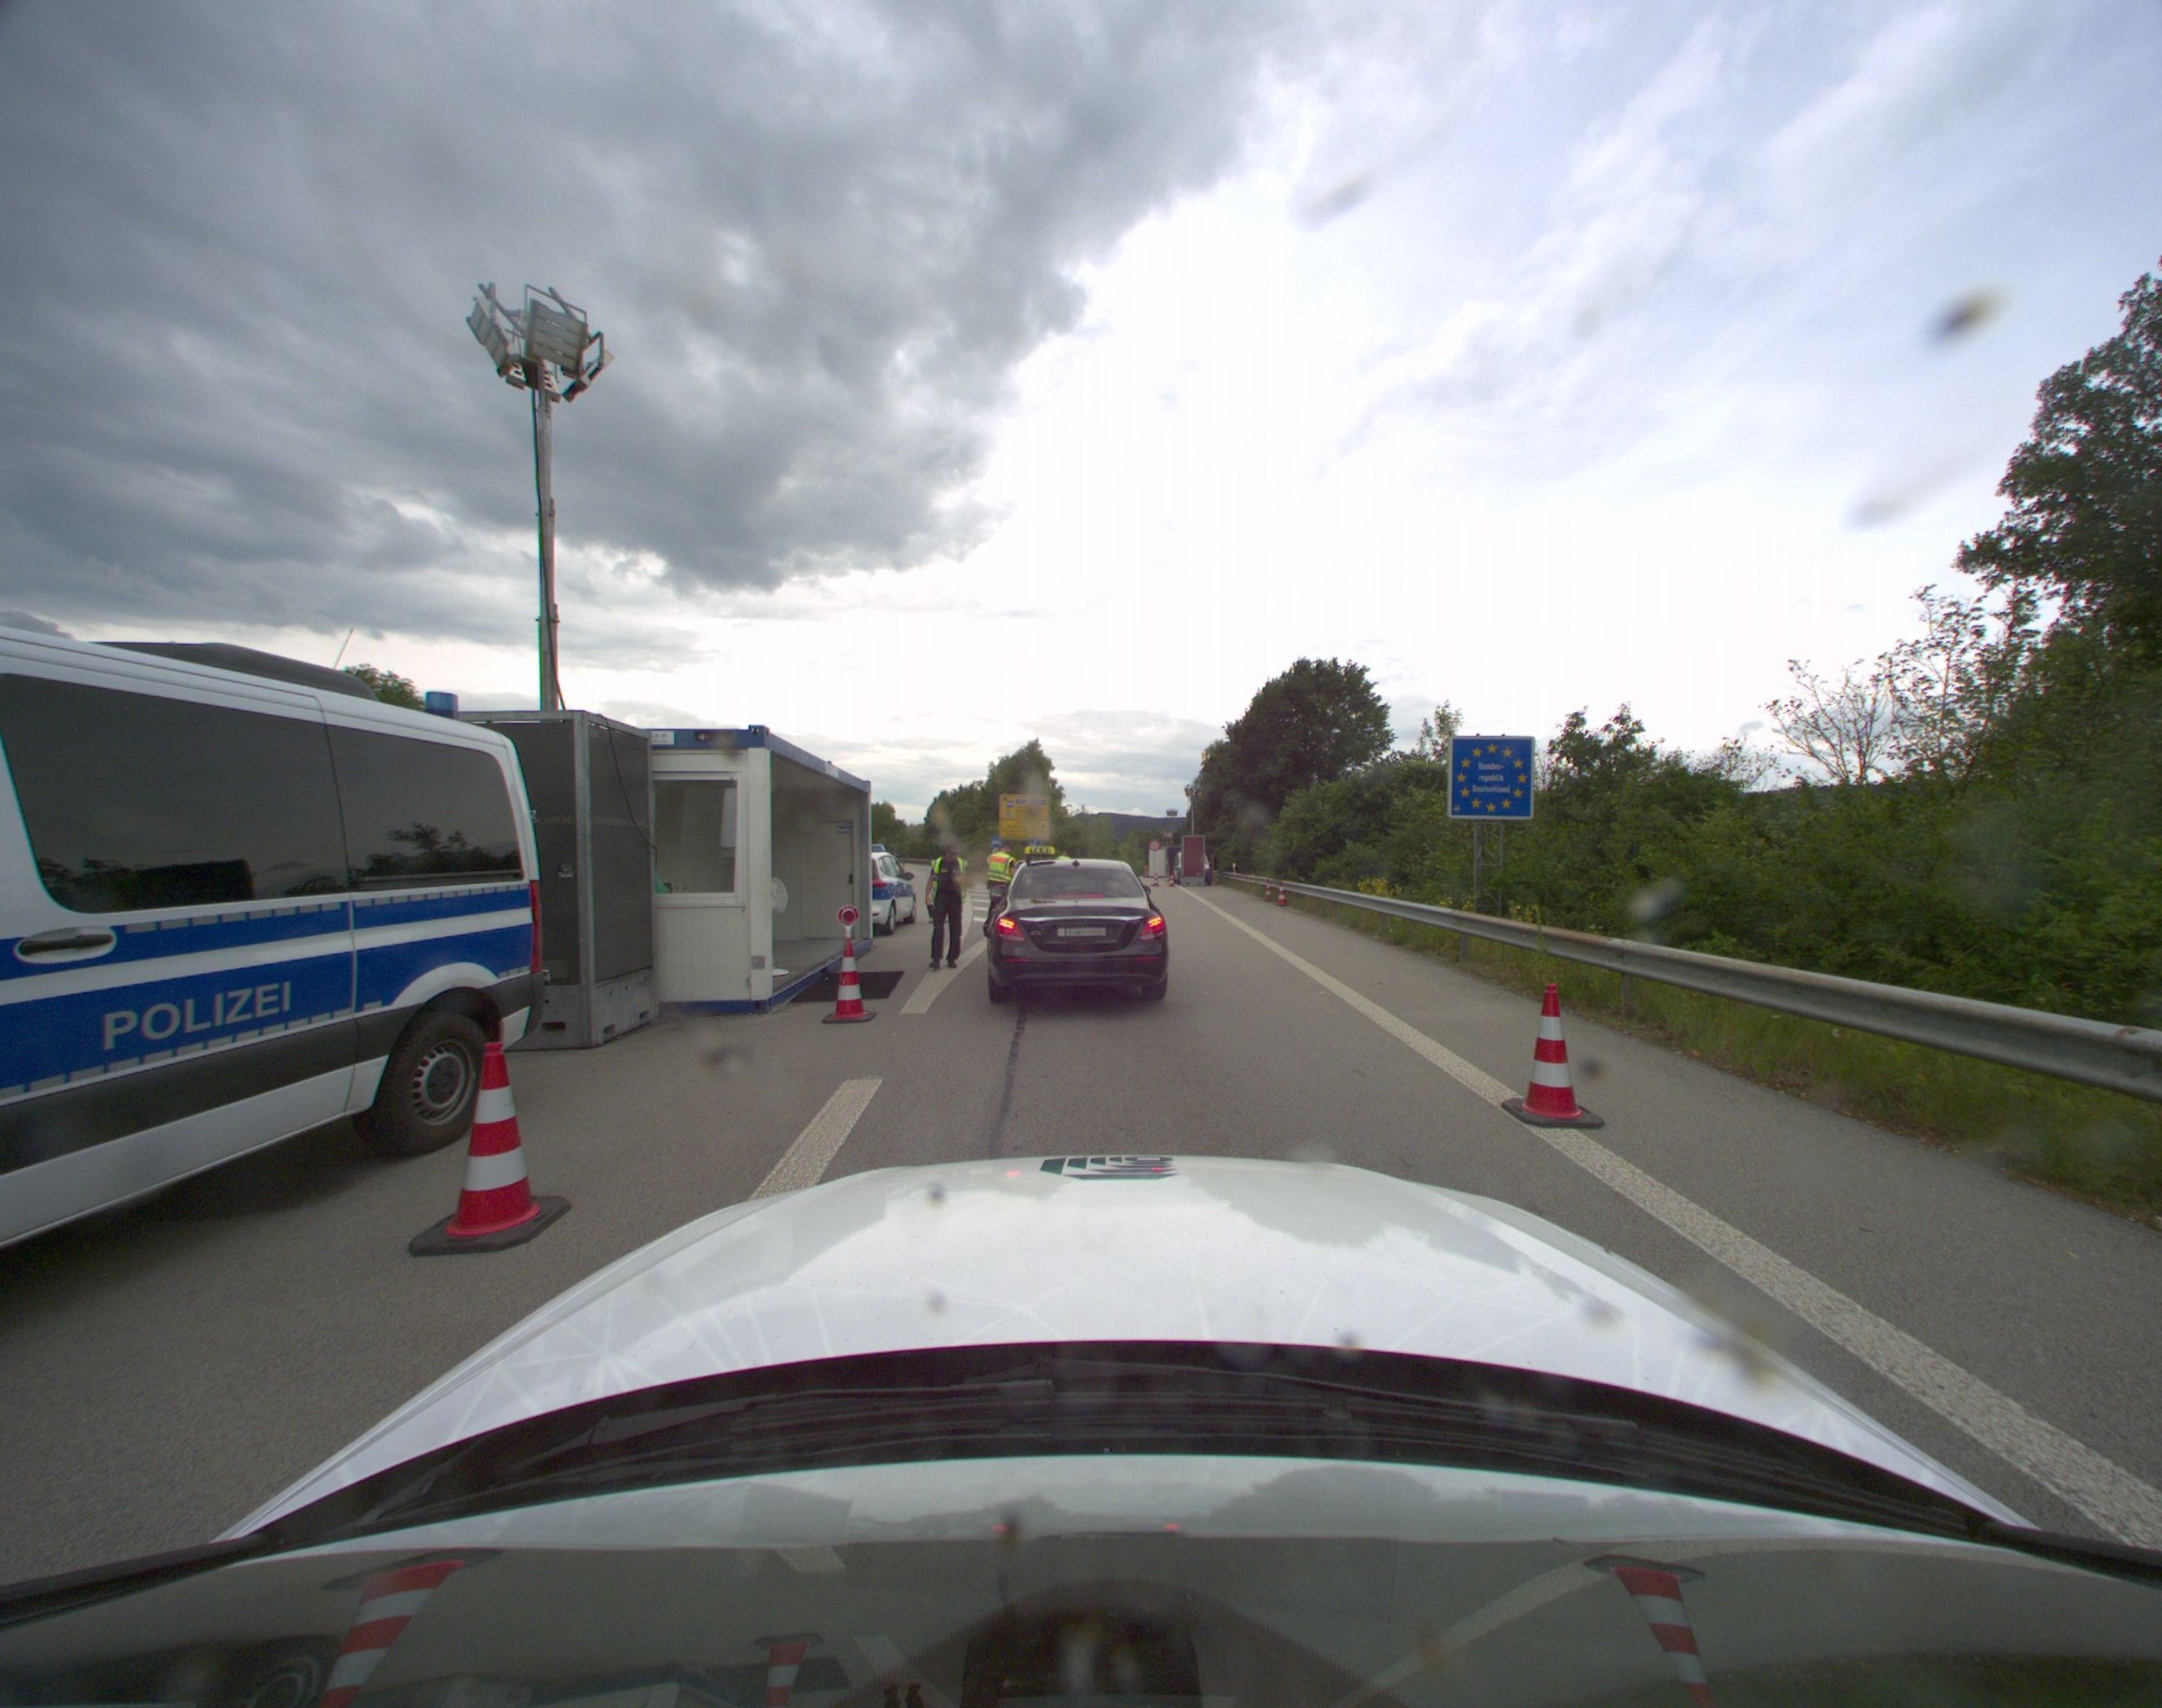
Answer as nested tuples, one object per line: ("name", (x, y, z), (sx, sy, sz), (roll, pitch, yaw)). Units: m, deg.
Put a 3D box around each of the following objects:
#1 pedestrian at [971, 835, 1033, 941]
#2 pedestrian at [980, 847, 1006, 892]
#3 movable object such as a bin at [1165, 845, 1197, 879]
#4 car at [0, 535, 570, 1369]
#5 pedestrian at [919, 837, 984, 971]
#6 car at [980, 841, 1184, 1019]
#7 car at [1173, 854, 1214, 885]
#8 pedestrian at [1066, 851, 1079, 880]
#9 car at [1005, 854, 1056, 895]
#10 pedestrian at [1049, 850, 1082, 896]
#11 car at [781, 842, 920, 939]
("pedestrian", (-1.408, 0.596, 14.623), (0.806, 1.830, 0.813), (-1, -1, 18))
("pedestrian", (-3.478, 0.600, 32.288), (0.908, 1.769, 0.911), (0, 0, -2))
("movable object such as a bin", (6.866, 0.552, 56.430), (1.985, 2.280, 4.172), (0, 0, 4))
("car", (-4.213, 0.296, 2.544), (2.024, 2.463, 5.275), (-1, 0, -2))
("pedestrian", (-1.733, 0.650, 11.002), (0.758, 1.718, 0.817), (-1, 0, -4))
("car", (-0.103, 0.685, 9.608), (1.851, 1.595, 4.370), (-1, 0, -3))
("car", (6.486, 0.838, 47.588), (1.908, 1.678, 5.087), (1, 0, 3))
("pedestrian", (-0.607, 0.776, 56.057), (0.659, 1.961, 0.763), (-1, -1, 17))
("car", (-1.973, 0.768, 32.712), (1.850, 1.498, 4.254), (-1, 0, -1))
("pedestrian", (-0.603, 0.721, 30.956), (0.914, 1.698, 0.905), (0, -1, -30))
("car", (-4.605, 0.671, 16.892), (1.864, 1.743, 4.004), (-1, 0, -3))
